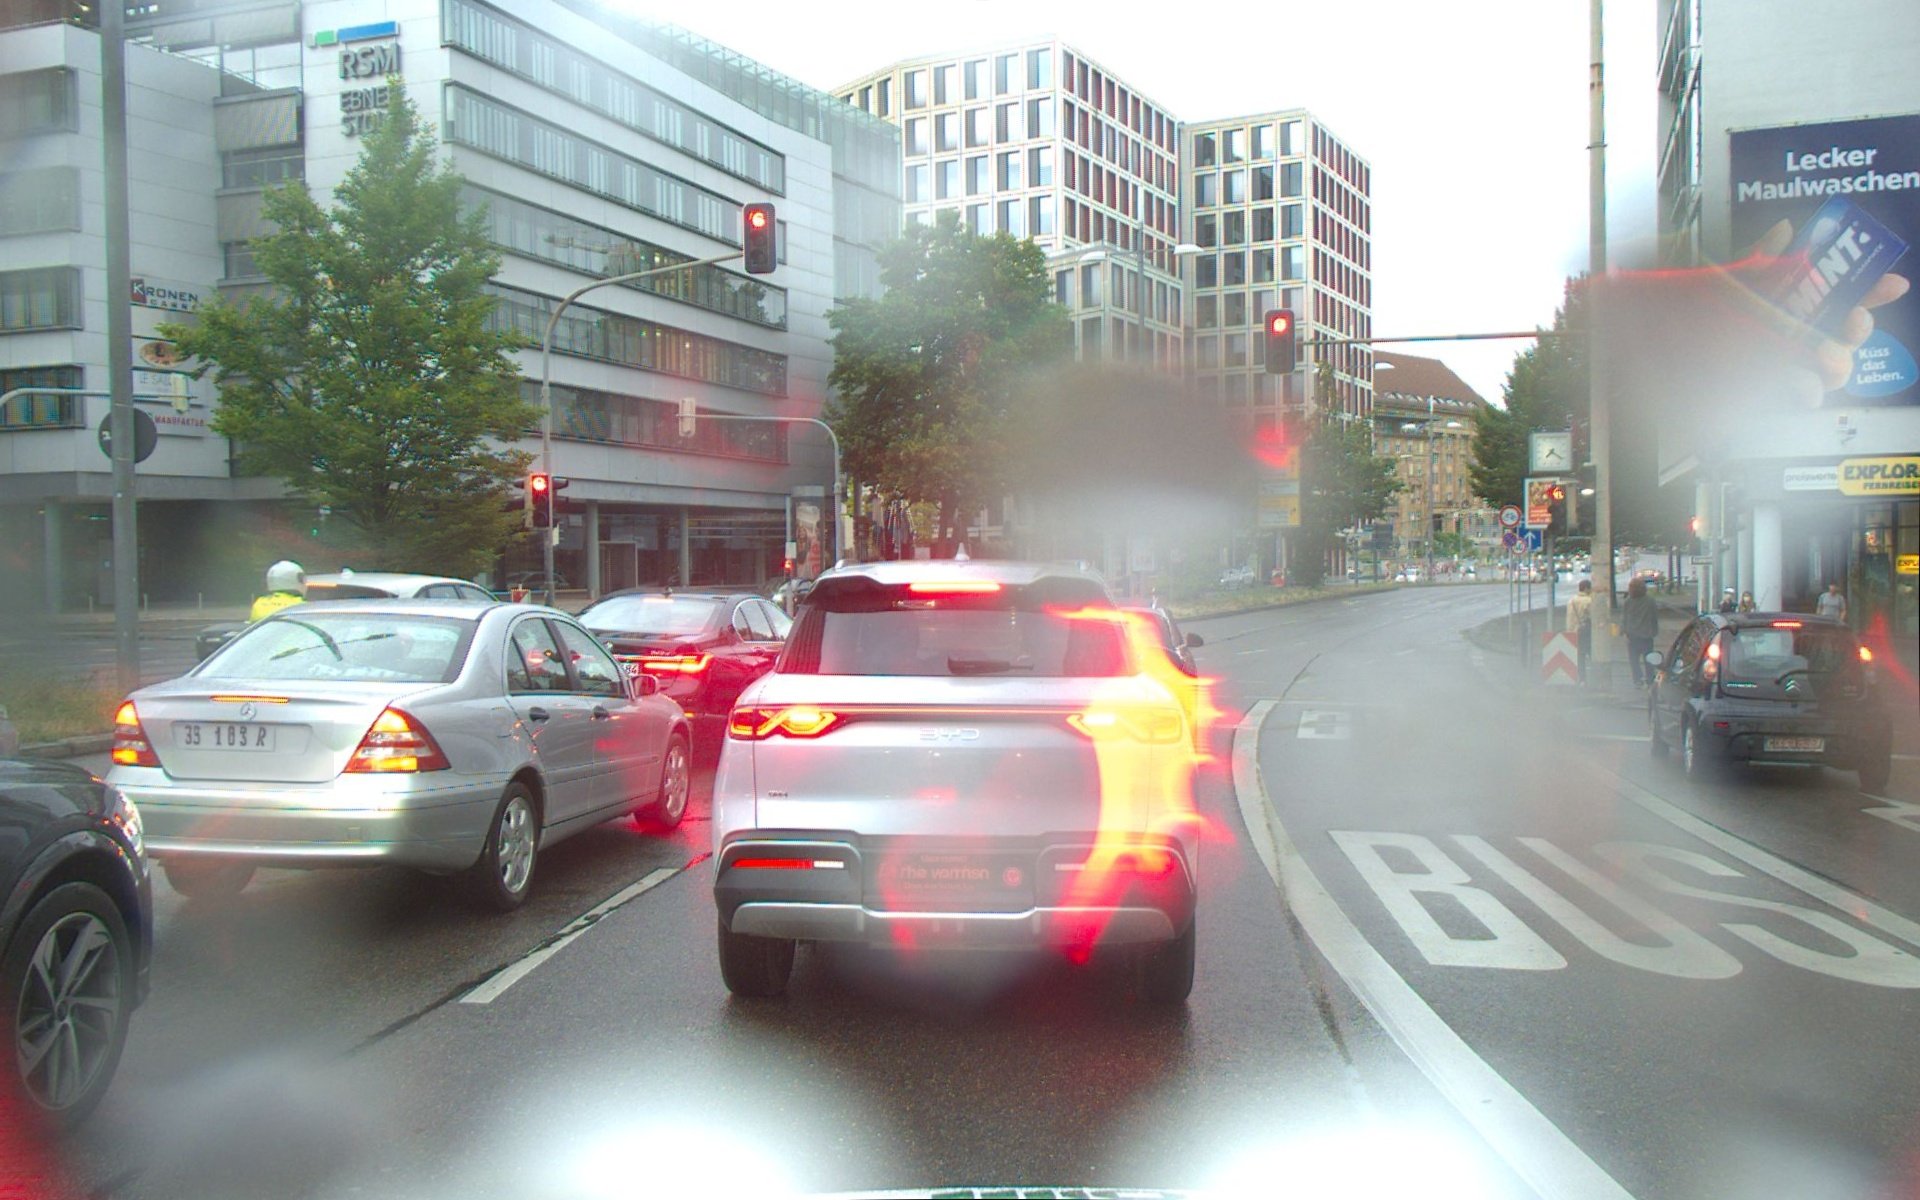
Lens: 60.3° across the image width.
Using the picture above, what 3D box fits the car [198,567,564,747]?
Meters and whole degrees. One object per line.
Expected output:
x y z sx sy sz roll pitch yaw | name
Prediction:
-5.462 0.495 16.186 1.670 1.512 4.003 1 0 9 | car

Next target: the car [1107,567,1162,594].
10.282 -1.174 97.304 1.955 1.514 3.996 0 1 27 | car

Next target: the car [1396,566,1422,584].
37.320 -2.048 137.528 1.598 1.462 3.907 0 1 23 | car

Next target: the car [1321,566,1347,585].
37.178 -2.397 164.338 1.577 1.771 3.437 1 0 31 | car

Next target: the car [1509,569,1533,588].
51.701 -1.995 152.357 1.849 1.671 4.000 1 1 22 | car

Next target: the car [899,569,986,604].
-0.744 -0.634 74.638 1.778 1.536 5.192 0 1 26 | car

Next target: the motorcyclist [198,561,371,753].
-5.207 0.424 12.809 0.753 1.404 1.119 1 0 8 | motorcyclist

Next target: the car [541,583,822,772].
-2.443 0.639 15.468 1.537 1.512 4.003 1 0 6 | car

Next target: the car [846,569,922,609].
-3.156 -0.431 69.562 1.606 1.598 3.715 1 0 26 | car

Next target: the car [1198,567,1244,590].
17.503 -1.453 110.663 1.955 1.514 3.996 0 1 27 | car

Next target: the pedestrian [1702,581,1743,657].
17.080 0.416 37.058 0.659 1.684 0.649 1 0 43 | pedestrian

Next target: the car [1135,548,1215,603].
8.520 -0.943 65.073 1.953 2.049 4.848 1 0 22 | car

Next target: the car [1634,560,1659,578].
62.828 -2.824 151.280 1.662 1.512 3.993 1 0 29 | car

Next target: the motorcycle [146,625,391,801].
-5.236 0.813 12.698 0.783 1.205 2.030 1 0 8 | motorcycle

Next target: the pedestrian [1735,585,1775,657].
17.589 0.468 36.596 0.615 1.570 0.649 1 0 43 | pedestrian

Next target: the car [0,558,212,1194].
-3.127 0.670 2.986 1.614 1.548 4.271 1 1 0 | car

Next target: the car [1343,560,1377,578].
48.640 -3.758 201.128 3.904 2.049 2.001 1 0 20 | car

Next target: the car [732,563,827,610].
-6.676 -0.517 61.657 1.952 1.638 4.001 2 1 20 | car

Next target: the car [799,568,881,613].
-4.253 -0.344 59.277 1.609 1.563 4.155 1 0 16 | car

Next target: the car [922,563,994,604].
-0.049 -0.681 68.604 1.610 1.608 4.086 1 0 21 | car

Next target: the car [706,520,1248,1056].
0.100 0.617 7.374 1.739 1.708 4.000 1 0 1 | car

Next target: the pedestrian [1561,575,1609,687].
10.412 0.504 27.585 0.733 1.829 0.817 0 1 20 | pedestrian

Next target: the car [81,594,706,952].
-2.658 0.715 8.845 1.537 1.432 4.112 1 0 6 | car

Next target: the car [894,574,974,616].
-0.880 -0.162 58.630 1.655 1.409 3.870 1 0 18 | car

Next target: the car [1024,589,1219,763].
1.735 0.680 16.655 1.657 1.512 4.003 1 0 10 | car

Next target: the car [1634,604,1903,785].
7.480 0.786 15.653 1.537 1.454 4.003 1 0 15 | car

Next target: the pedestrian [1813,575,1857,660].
18.966 0.376 35.846 0.659 1.825 0.768 1 0 43 | pedestrian

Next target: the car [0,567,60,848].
-6.311 0.601 7.362 1.826 1.560 4.779 1 1 2 | car

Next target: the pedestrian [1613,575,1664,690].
10.994 0.515 26.825 0.733 1.829 0.817 0 1 20 | pedestrian

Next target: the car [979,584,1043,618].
2.550 0.028 81.262 1.598 1.586 4.592 0 1 23 | car
